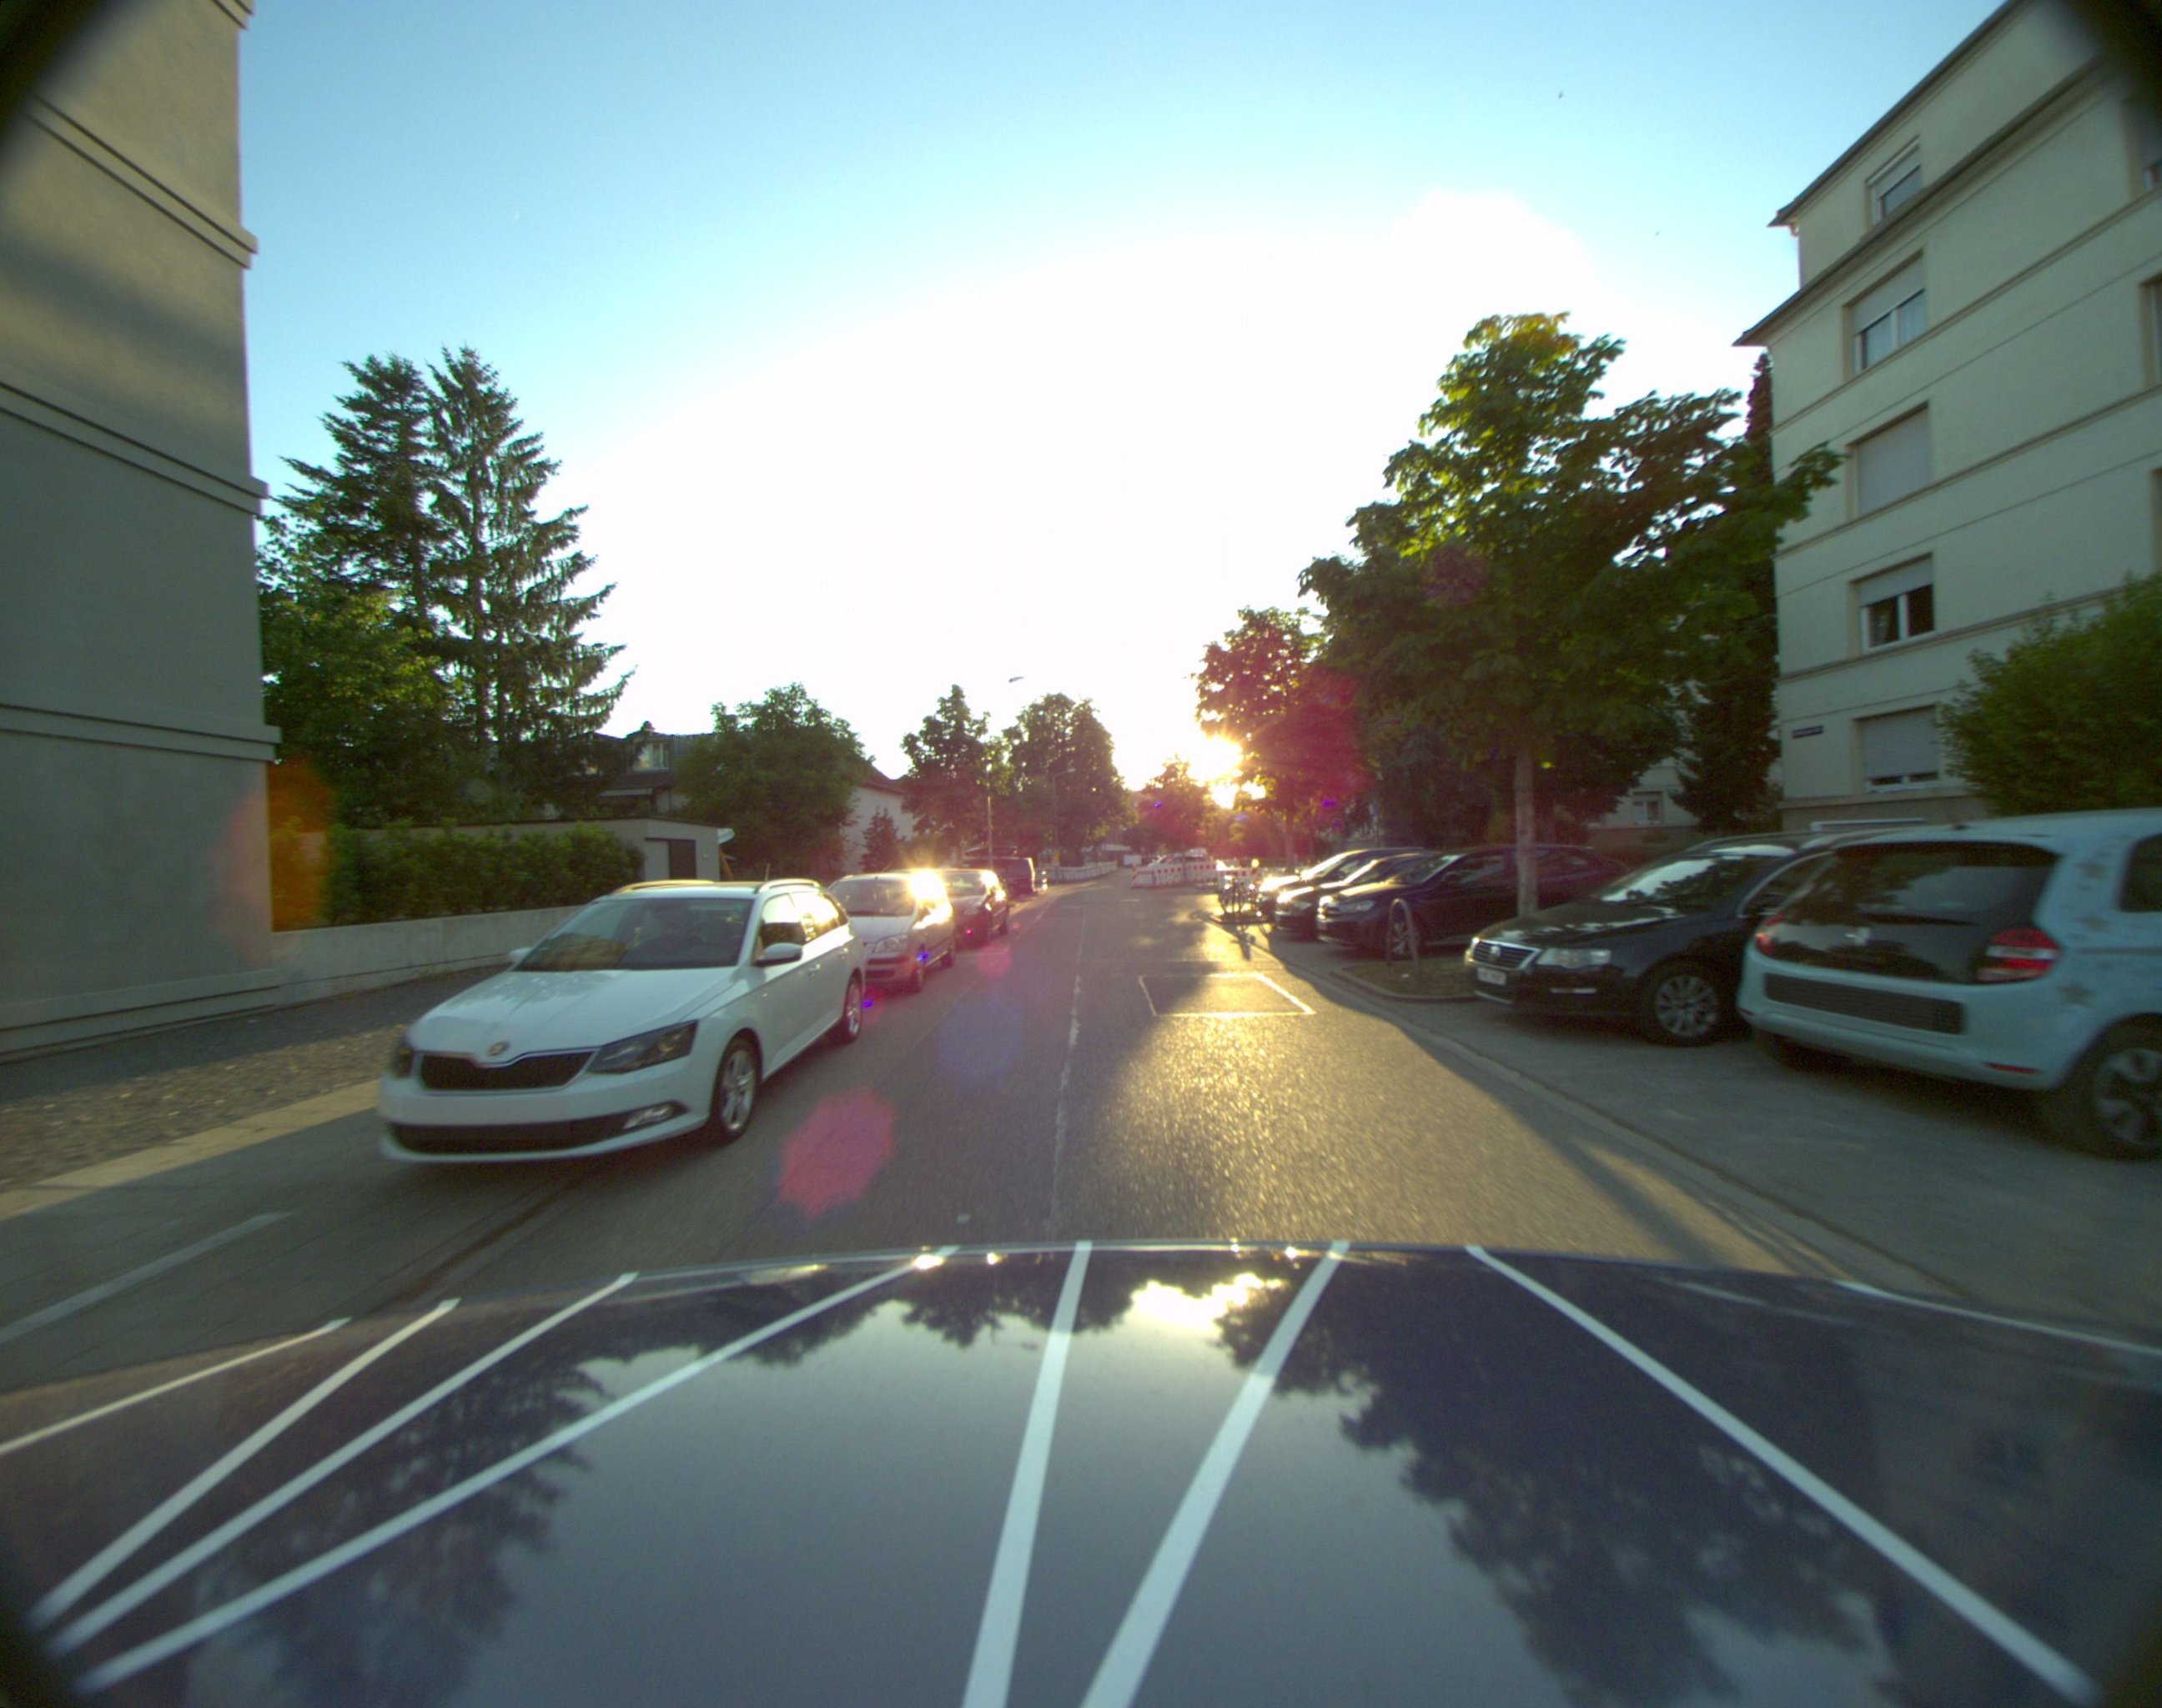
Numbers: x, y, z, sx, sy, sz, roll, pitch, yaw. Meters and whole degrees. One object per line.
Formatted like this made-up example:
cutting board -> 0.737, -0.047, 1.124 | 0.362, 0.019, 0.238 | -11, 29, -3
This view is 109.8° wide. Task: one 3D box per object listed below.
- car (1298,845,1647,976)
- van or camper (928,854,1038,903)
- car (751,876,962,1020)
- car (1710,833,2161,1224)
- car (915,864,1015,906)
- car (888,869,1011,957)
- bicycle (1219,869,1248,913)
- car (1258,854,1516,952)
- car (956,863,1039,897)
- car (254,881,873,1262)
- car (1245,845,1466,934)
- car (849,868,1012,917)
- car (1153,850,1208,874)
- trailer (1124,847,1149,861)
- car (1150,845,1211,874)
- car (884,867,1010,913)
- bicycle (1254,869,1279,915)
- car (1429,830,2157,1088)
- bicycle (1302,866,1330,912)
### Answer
car -> 5.401, 0.752, 10.911 | 4.041, 1.475, 1.728 | -4, 0, 3
van or camper -> -4.338, 1.061, 34.298 | 4.660, 1.942, 2.094 | -2, 0, -2
car -> -2.861, 1.128, 10.595 | 1.802, 1.461, 3.843 | -2, 0, -1
car -> 5.945, 0.678, 4.059 | 3.709, 1.475, 1.728 | -4, 0, -2
car -> -4.802, 1.295, 31.814 | 3.842, 1.535, 1.629 | -2, 0, 0
car -> -2.584, 1.124, 15.809 | 1.745, 1.461, 3.759 | -2, 0, 2
bicycle -> 4.111, 0.984, 20.585 | 0.448, 1.089, 1.629 | -2, 0, 1
car -> 5.286, 0.821, 13.481 | 3.851, 1.376, 1.607 | -4, 0, 1
car -> -4.281, 1.322, 39.419 | 3.997, 1.551, 1.793 | -2, 0, 1
car -> -2.809, 1.025, 5.338 | 1.619, 1.461, 3.996 | -2, 0, -1
car -> 5.660, 0.718, 16.061 | 3.996, 1.533, 1.728 | -4, 0, 3
car -> -4.719, 1.199, 24.289 | 4.830, 1.390, 1.770 | -1, 0, 1
car -> 7.726, 0.609, 59.225 | 4.129, 1.673, 2.001 | -2, 0, 5
trailer -> 9.139, -0.038, 124.513 | 3.683, 2.056, 2.002 | -3, 0, 14
car -> 8.026, 0.445, 61.693 | 4.785, 2.058, 2.001 | -2, 0, 5
car -> -4.701, 1.250, 27.035 | 4.064, 1.492, 1.770 | -1, 0, 4
bicycle -> 5.031, 1.013, 20.663 | 0.280, 1.151, 1.526 | -2, 0, 1
car -> 5.524, 0.715, 6.237 | 4.520, 1.475, 1.727 | -4, 0, -5
bicycle -> 6.318, 0.921, 20.483 | 0.280, 1.151, 1.526 | -2, 0, 1
